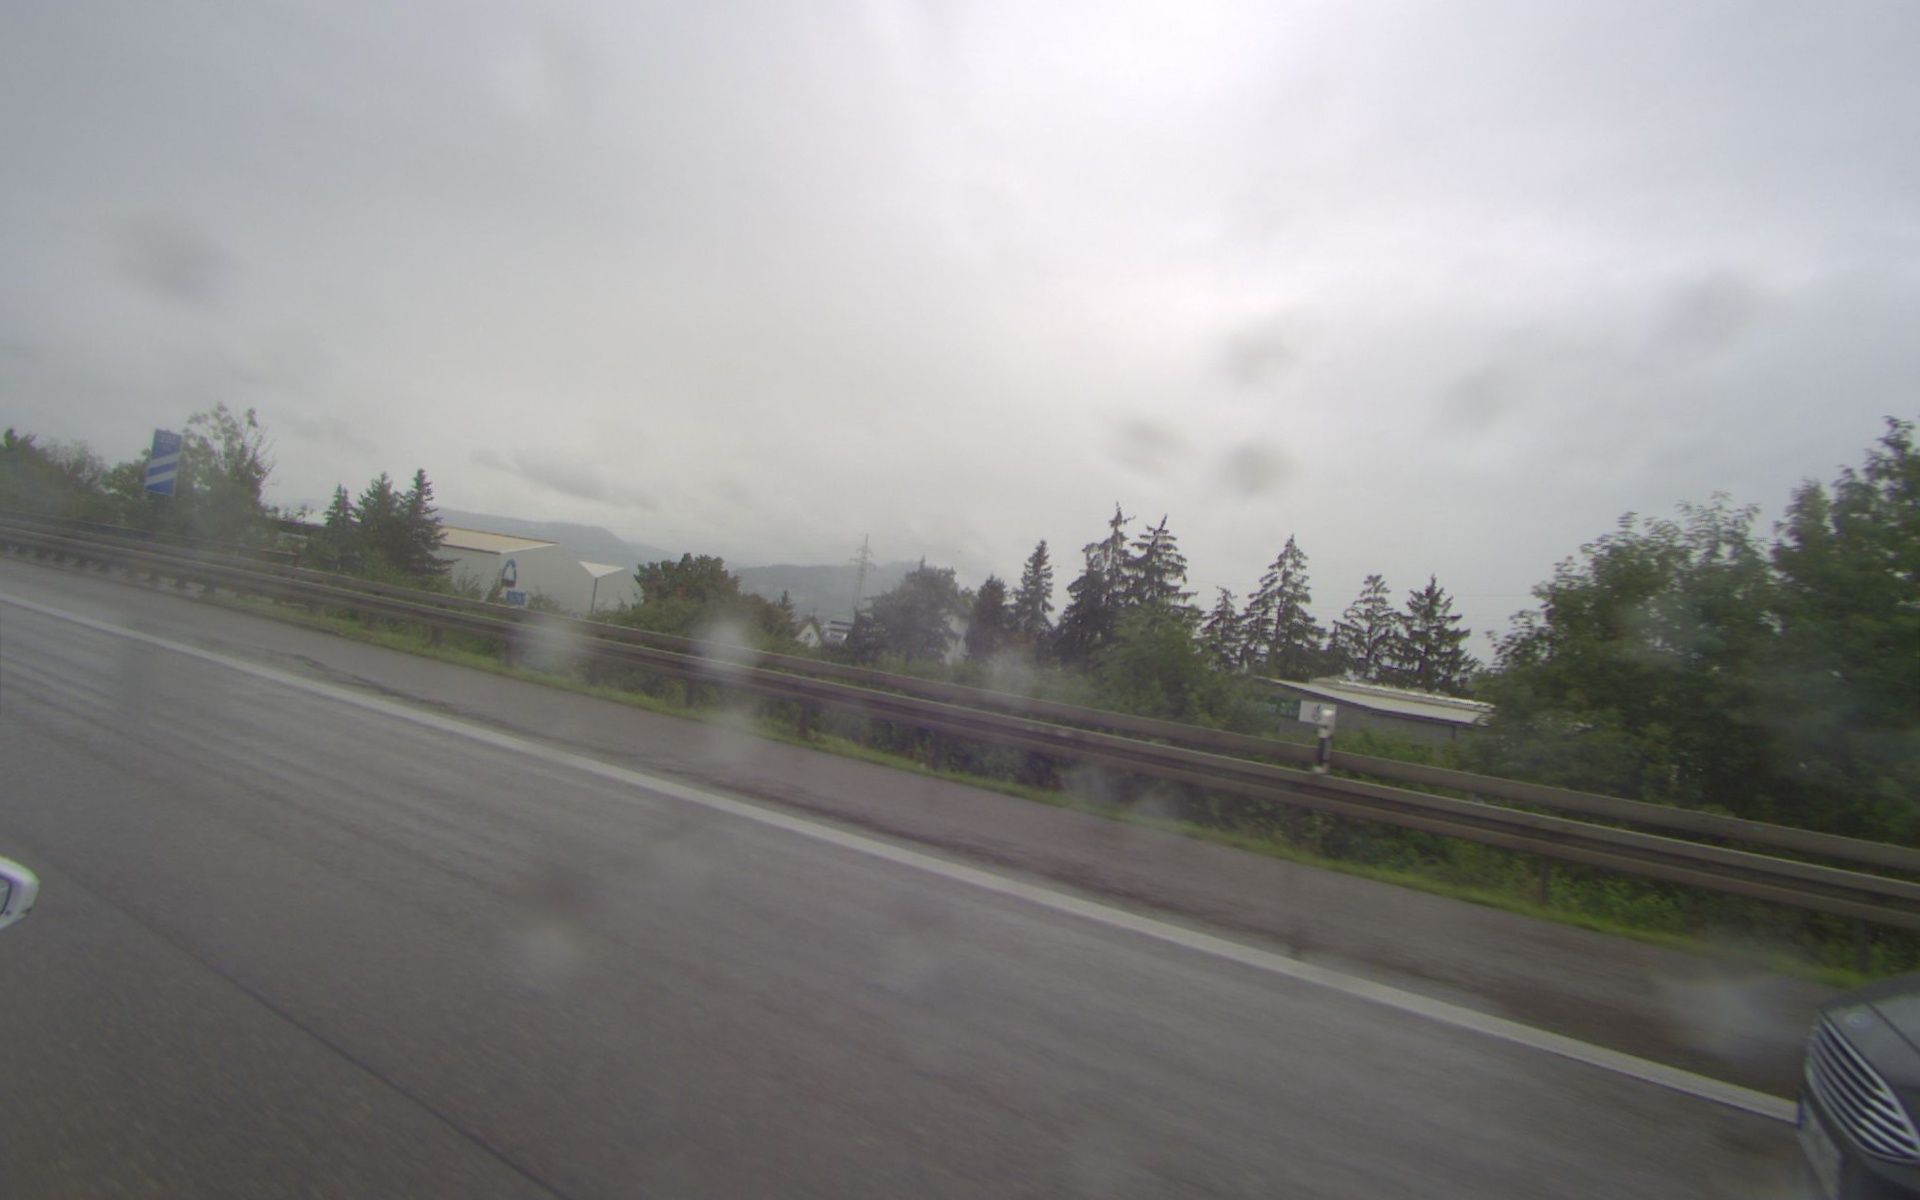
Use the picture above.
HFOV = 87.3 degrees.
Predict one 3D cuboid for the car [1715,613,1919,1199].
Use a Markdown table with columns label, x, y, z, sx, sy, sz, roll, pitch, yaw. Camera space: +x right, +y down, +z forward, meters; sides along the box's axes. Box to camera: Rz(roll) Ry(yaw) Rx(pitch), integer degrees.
| label | x | y | z | sx | sy | sz | roll | pitch | yaw |
| --- | --- | --- | --- | --- | --- | --- | --- | --- | --- |
| car | 4.827 | 1.250 | 1.420 | 5.624 | 1.766 | 2.462 | 7 | -2 | 32 |
